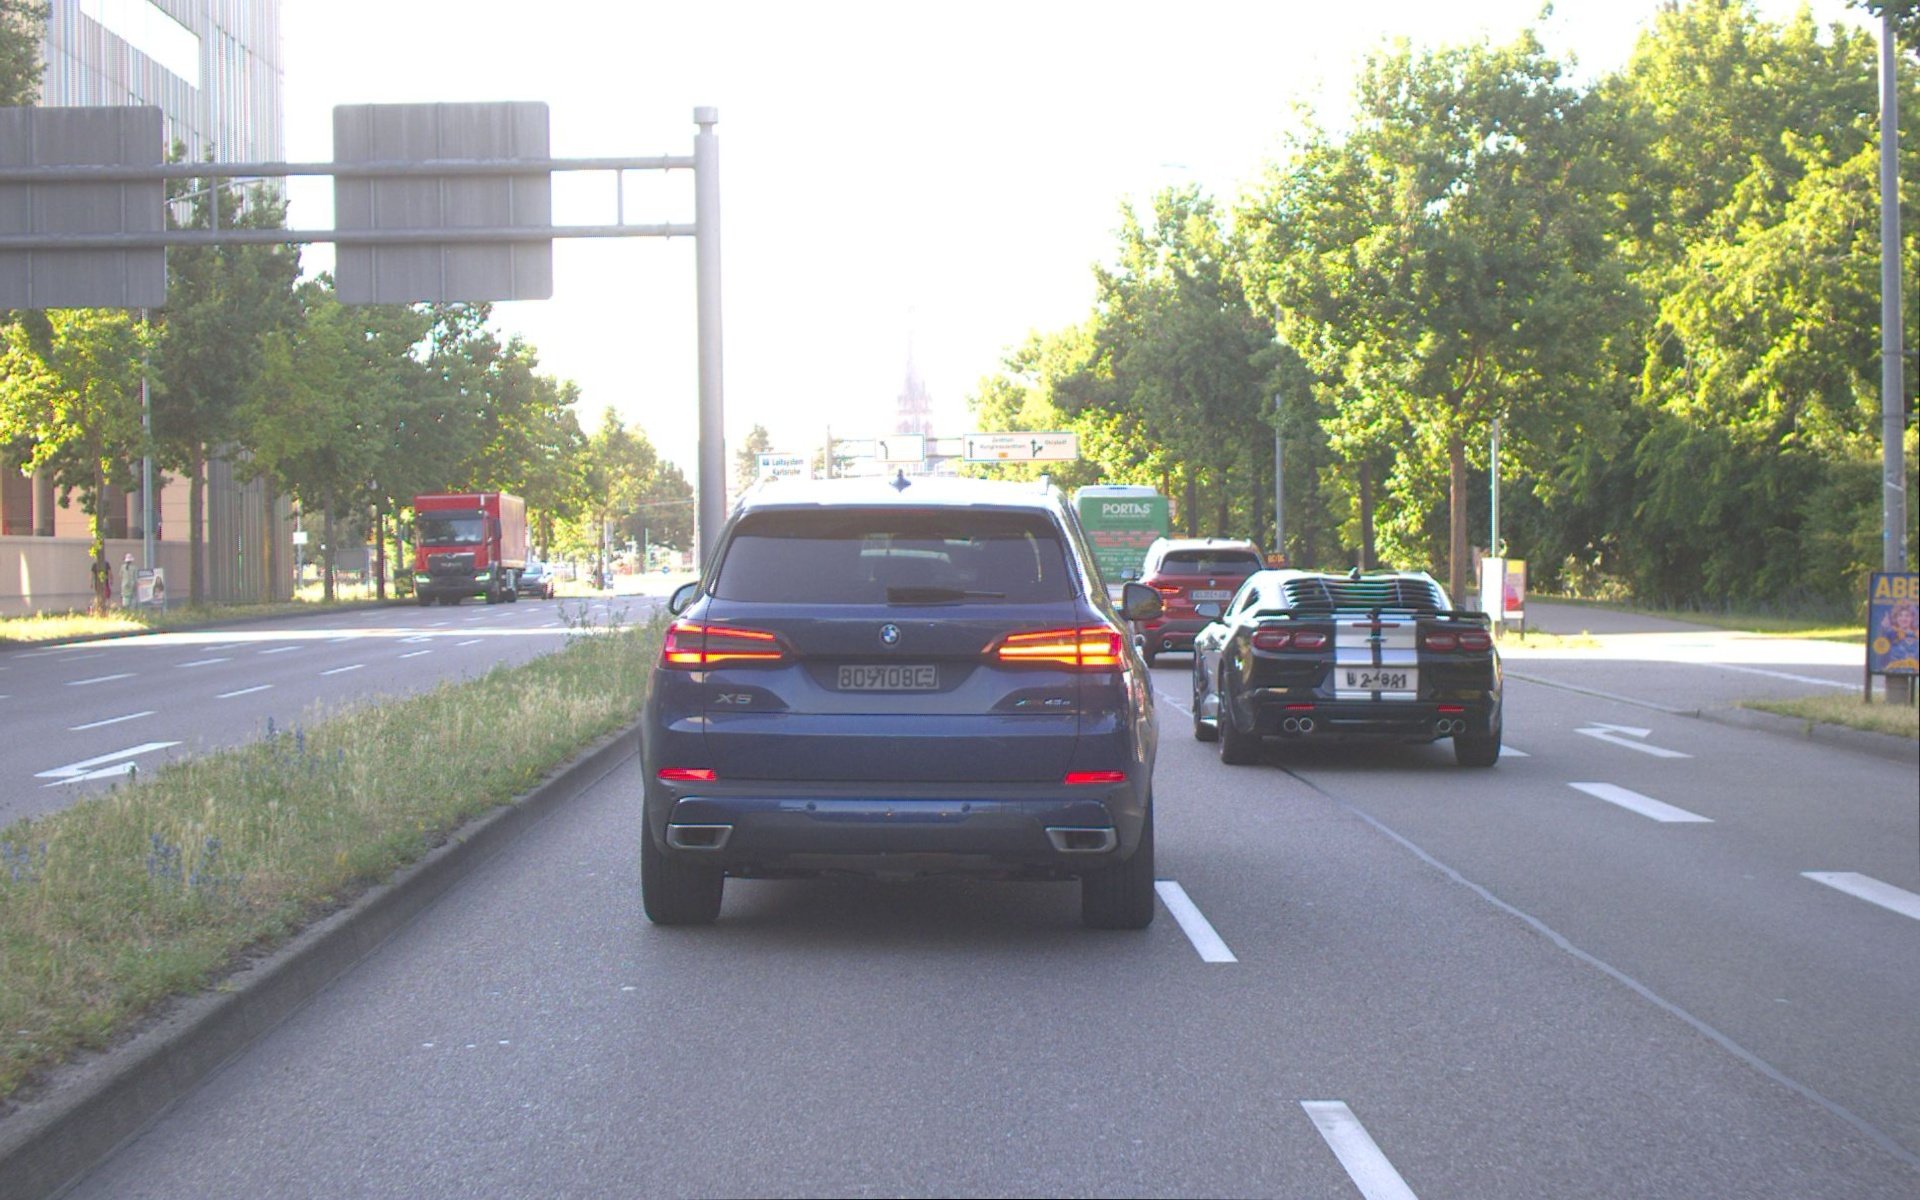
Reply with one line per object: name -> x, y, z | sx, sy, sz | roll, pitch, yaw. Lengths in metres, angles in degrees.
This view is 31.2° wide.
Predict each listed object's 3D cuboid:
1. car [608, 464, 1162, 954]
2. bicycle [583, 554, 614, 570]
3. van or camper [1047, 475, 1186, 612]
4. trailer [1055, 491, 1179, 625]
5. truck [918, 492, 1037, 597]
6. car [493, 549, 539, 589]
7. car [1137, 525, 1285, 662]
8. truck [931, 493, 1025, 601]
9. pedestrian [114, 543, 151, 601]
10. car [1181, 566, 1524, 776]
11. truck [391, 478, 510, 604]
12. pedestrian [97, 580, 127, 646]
car -> -0.257, 0.378, 14.543 | 1.955, 1.721, 4.699 | 0, 0, 0
bicycle -> -23.026, -2.409, 219.107 | 1.909, 1.016, 0.504 | 1, 0, 15
van or camper -> 3.105, -1.145, 69.624 | 2.284, 2.620, 6.584 | 0, 1, -2
trailer -> 2.872, -0.775, 63.603 | 2.090, 2.392, 3.501 | 1, 1, 0
truck -> 0.397, -1.405, 88.008 | 2.580, 2.549, 6.252 | -1, 1, -3
car -> -17.036, -1.195, 132.008 | 1.595, 1.507, 3.868 | -1, 1, -5
car -> 3.116, -0.113, 43.143 | 1.747, 1.615, 3.819 | -1, 1, 3
truck -> 0.418, -1.346, 87.434 | 2.219, 2.642, 4.774 | -1, 1, -1
pedestrian -> -23.016, -0.795, 95.649 | 0.776, 1.596, 0.909 | -1, 1, 0
car -> 2.695, 0.438, 24.622 | 1.854, 1.333, 4.625 | 1, 1, -1
truck -> -16.134, -1.871, 109.432 | 2.998, 3.798, 10.091 | -1, 1, -4
pedestrian -> -23.764, 0.360, 96.384 | 0.632, 1.835, 0.716 | -1, 1, 0
